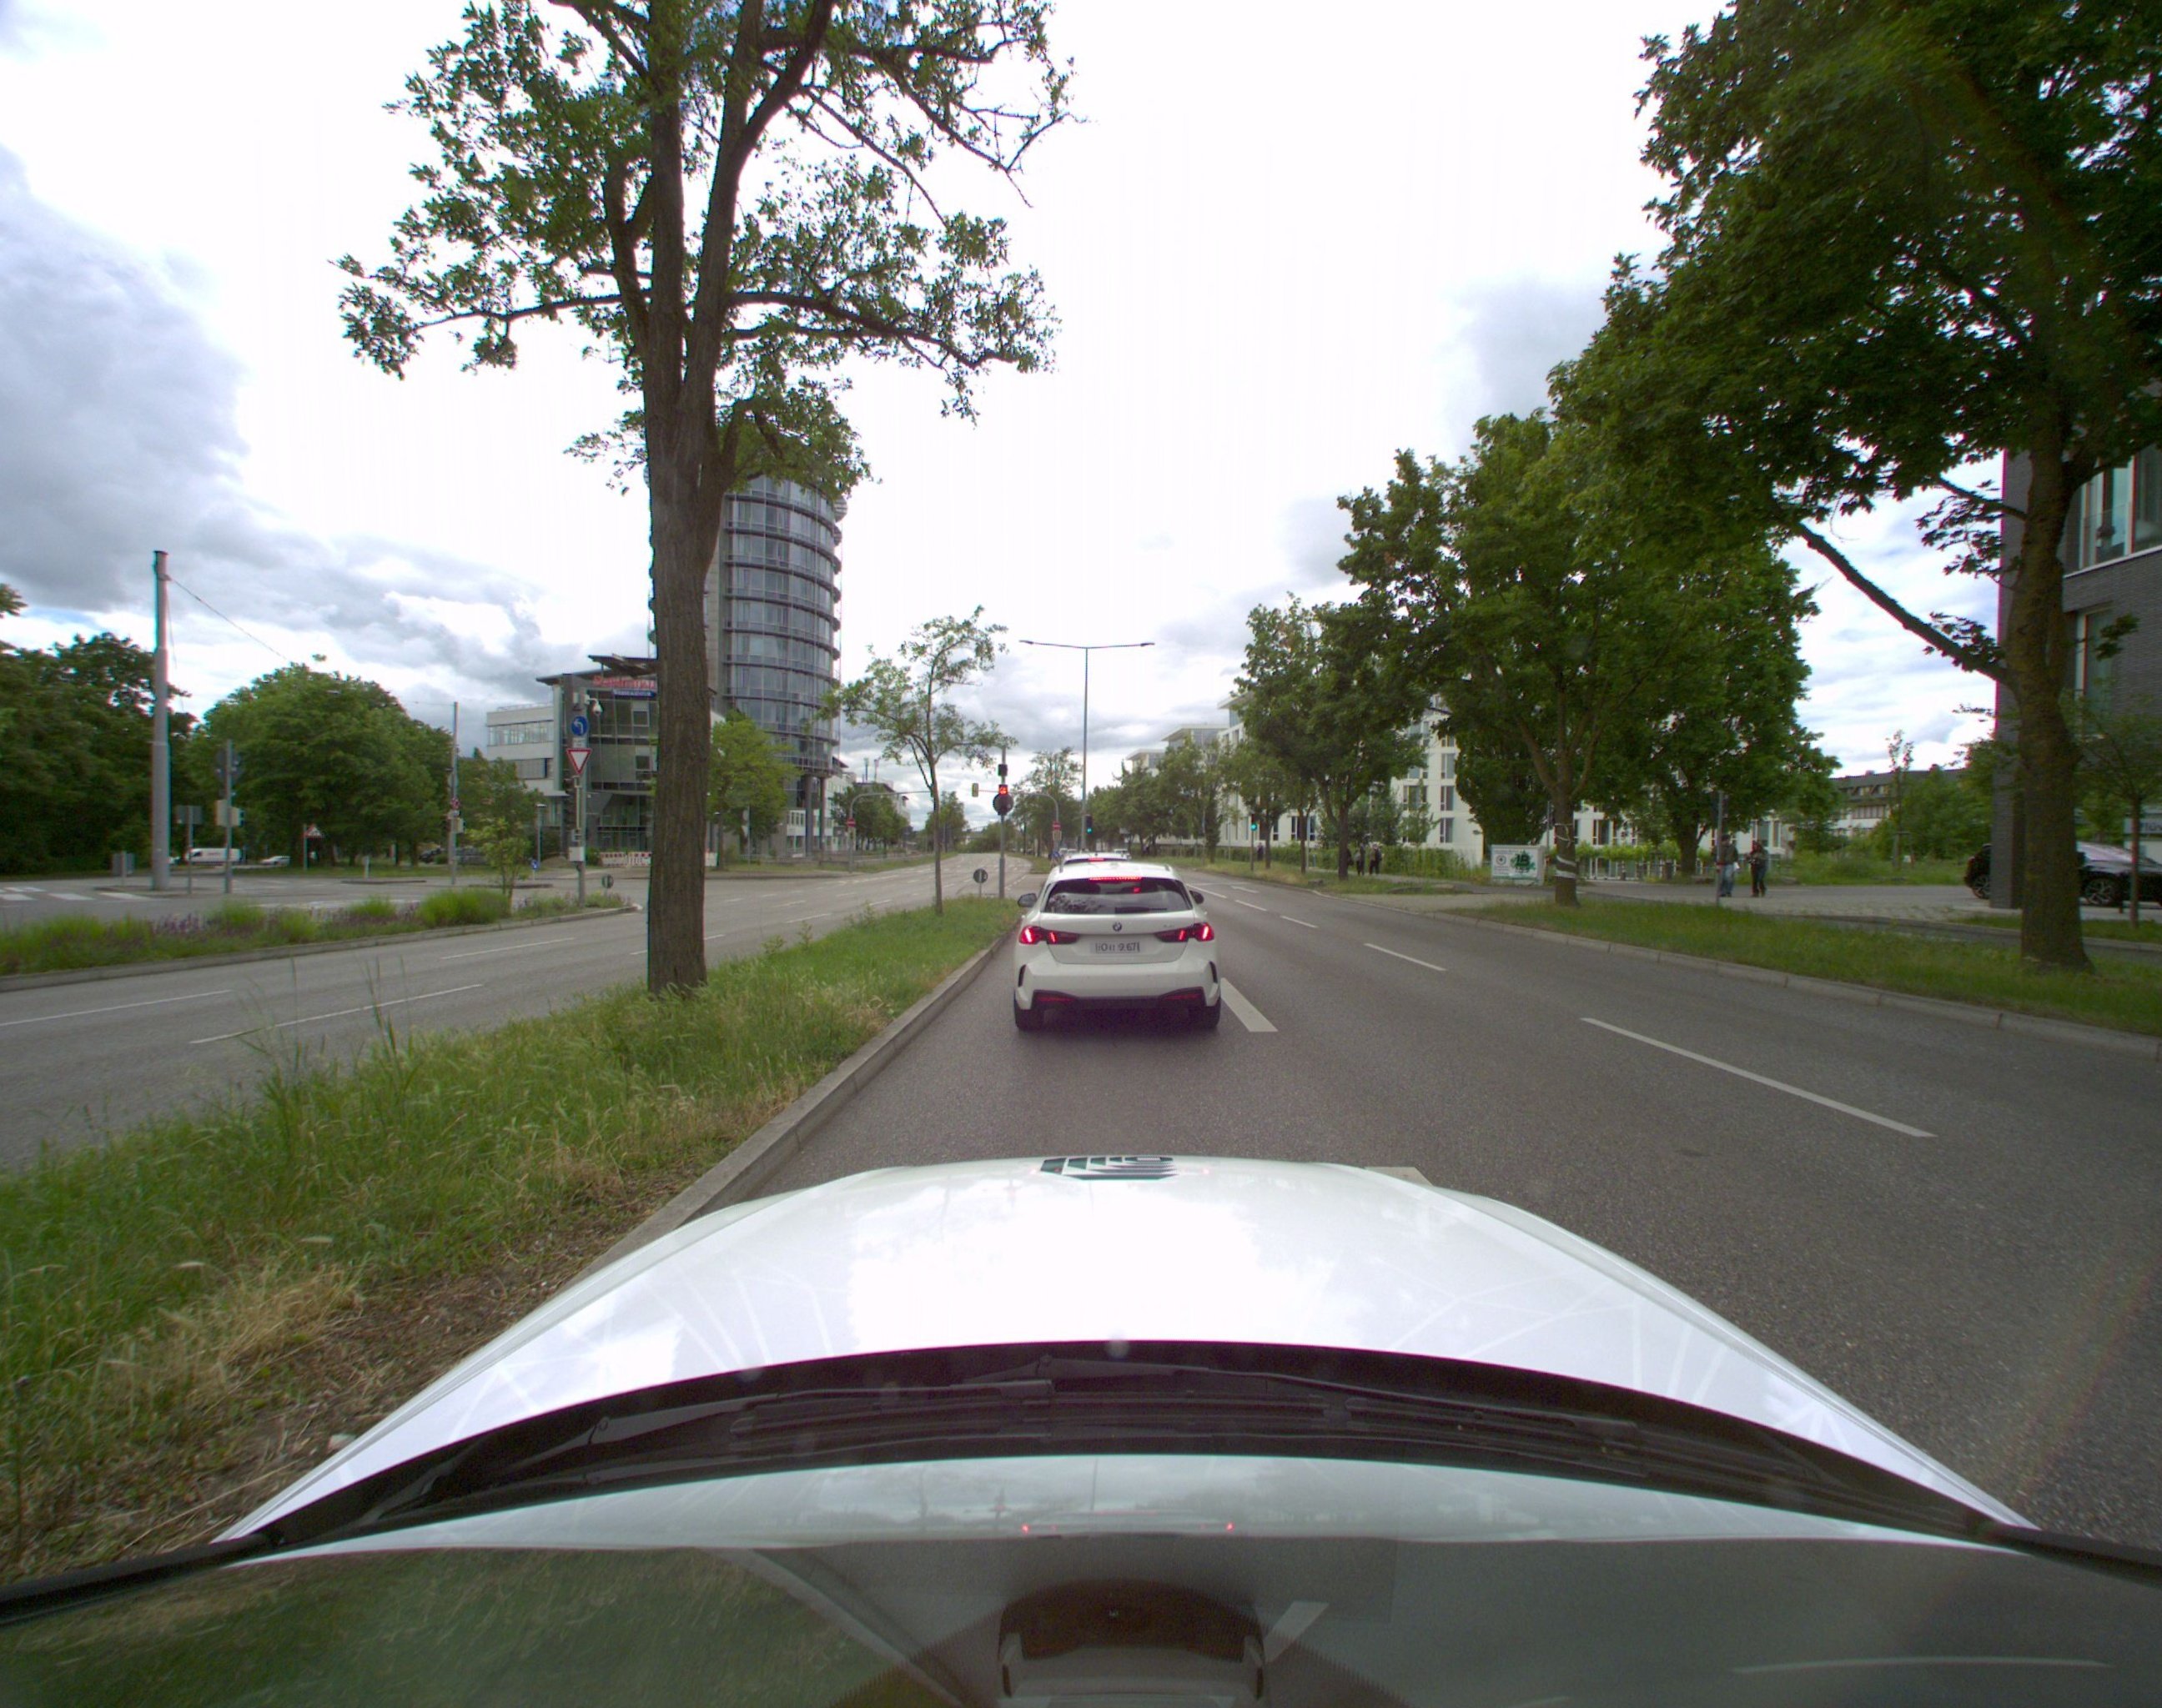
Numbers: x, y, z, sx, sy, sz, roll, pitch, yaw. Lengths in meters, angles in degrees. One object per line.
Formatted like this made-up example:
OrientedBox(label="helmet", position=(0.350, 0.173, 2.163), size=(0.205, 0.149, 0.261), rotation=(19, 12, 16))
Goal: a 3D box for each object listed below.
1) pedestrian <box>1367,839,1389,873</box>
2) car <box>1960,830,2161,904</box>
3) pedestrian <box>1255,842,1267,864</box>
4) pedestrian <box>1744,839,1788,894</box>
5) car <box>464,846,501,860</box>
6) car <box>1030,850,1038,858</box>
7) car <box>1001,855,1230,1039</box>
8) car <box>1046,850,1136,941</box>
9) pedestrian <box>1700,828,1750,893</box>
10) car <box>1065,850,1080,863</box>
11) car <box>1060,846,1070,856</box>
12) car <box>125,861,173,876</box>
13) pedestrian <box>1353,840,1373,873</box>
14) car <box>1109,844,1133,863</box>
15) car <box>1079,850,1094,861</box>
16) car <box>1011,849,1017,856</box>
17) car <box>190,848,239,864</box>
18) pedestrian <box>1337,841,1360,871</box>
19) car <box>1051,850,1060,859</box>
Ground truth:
OrientedBox(label="pedestrian", position=(14.537, 0.101, 39.919), size=(0.764, 1.685, 0.883), rotation=(0, -1, 1))
OrientedBox(label="car", position=(24.880, 0.296, 20.225), size=(1.749, 1.646, 4.151), rotation=(0, 0, 2))
OrientedBox(label="pedestrian", position=(13.317, -0.080, 60.333), size=(0.739, 1.574, 0.674), rotation=(0, -1, 0))
OrientedBox(label="pedestrian", position=(19.923, 0.357, 23.694), size=(0.880, 1.557, 0.825), rotation=(0, 0, -38))
OrientedBox(label="car", position=(-37.374, -0.061, 50.883), size=(0.766, 0.876, 1.730), rotation=(0, 0, 38))
OrientedBox(label="car", position=(-10.252, 0.028, 177.826), size=(1.597, 1.666, 3.997), rotation=(0, 0, -2))
OrientedBox(label="car", position=(0.336, 0.737, 8.451), size=(1.815, 1.438, 4.002), rotation=(0, 0, 2))
OrientedBox(label="car", position=(0.230, 0.711, 15.978), size=(1.544, 1.569, 4.002), rotation=(0, 0, 2))
OrientedBox(label="pedestrian", position=(19.042, 0.181, 24.097), size=(0.983, 1.868, 0.952), rotation=(0, 0, -38))
OrientedBox(label="car", position=(-1.114, 0.298, 104.853), size=(1.692, 1.717, 3.994), rotation=(0, 0, -4))
OrientedBox(label="car", position=(-2.788, -0.483, 139.849), size=(1.597, 1.666, 3.997), rotation=(0, 0, -2))
OrientedBox(label="car", position=(-128.685, 1.930, 112.458), size=(3.994, 2.013, 1.714), rotation=(0, 0, -15))
OrientedBox(label="pedestrian", position=(13.783, 0.105, 39.829), size=(0.697, 1.595, 0.883), rotation=(0, -1, 1))
OrientedBox(label="car", position=(3.770, -0.059, 76.585), size=(1.987, 1.670, 3.999), rotation=(-2, 0, 0))
OrientedBox(label="car", position=(0.752, 0.228, 114.271), size=(1.689, 1.486, 3.688), rotation=(0, 0, -4))
OrientedBox(label="car", position=(-20.967, -0.406, 256.379), size=(1.834, 2.014, 3.994), rotation=(0, -1, -4))
OrientedBox(label="car", position=(-128.881, 0.262, 121.196), size=(1.978, 2.339, 4.570), rotation=(-1, -1, 16))
OrientedBox(label="pedestrian", position=(13.108, 0.112, 39.969), size=(0.786, 1.448, 1.112), rotation=(0, -1, 1))
OrientedBox(label="car", position=(-4.980, 0.041, 160.584), size=(1.734, 1.666, 3.997), rotation=(0, 0, -2))
